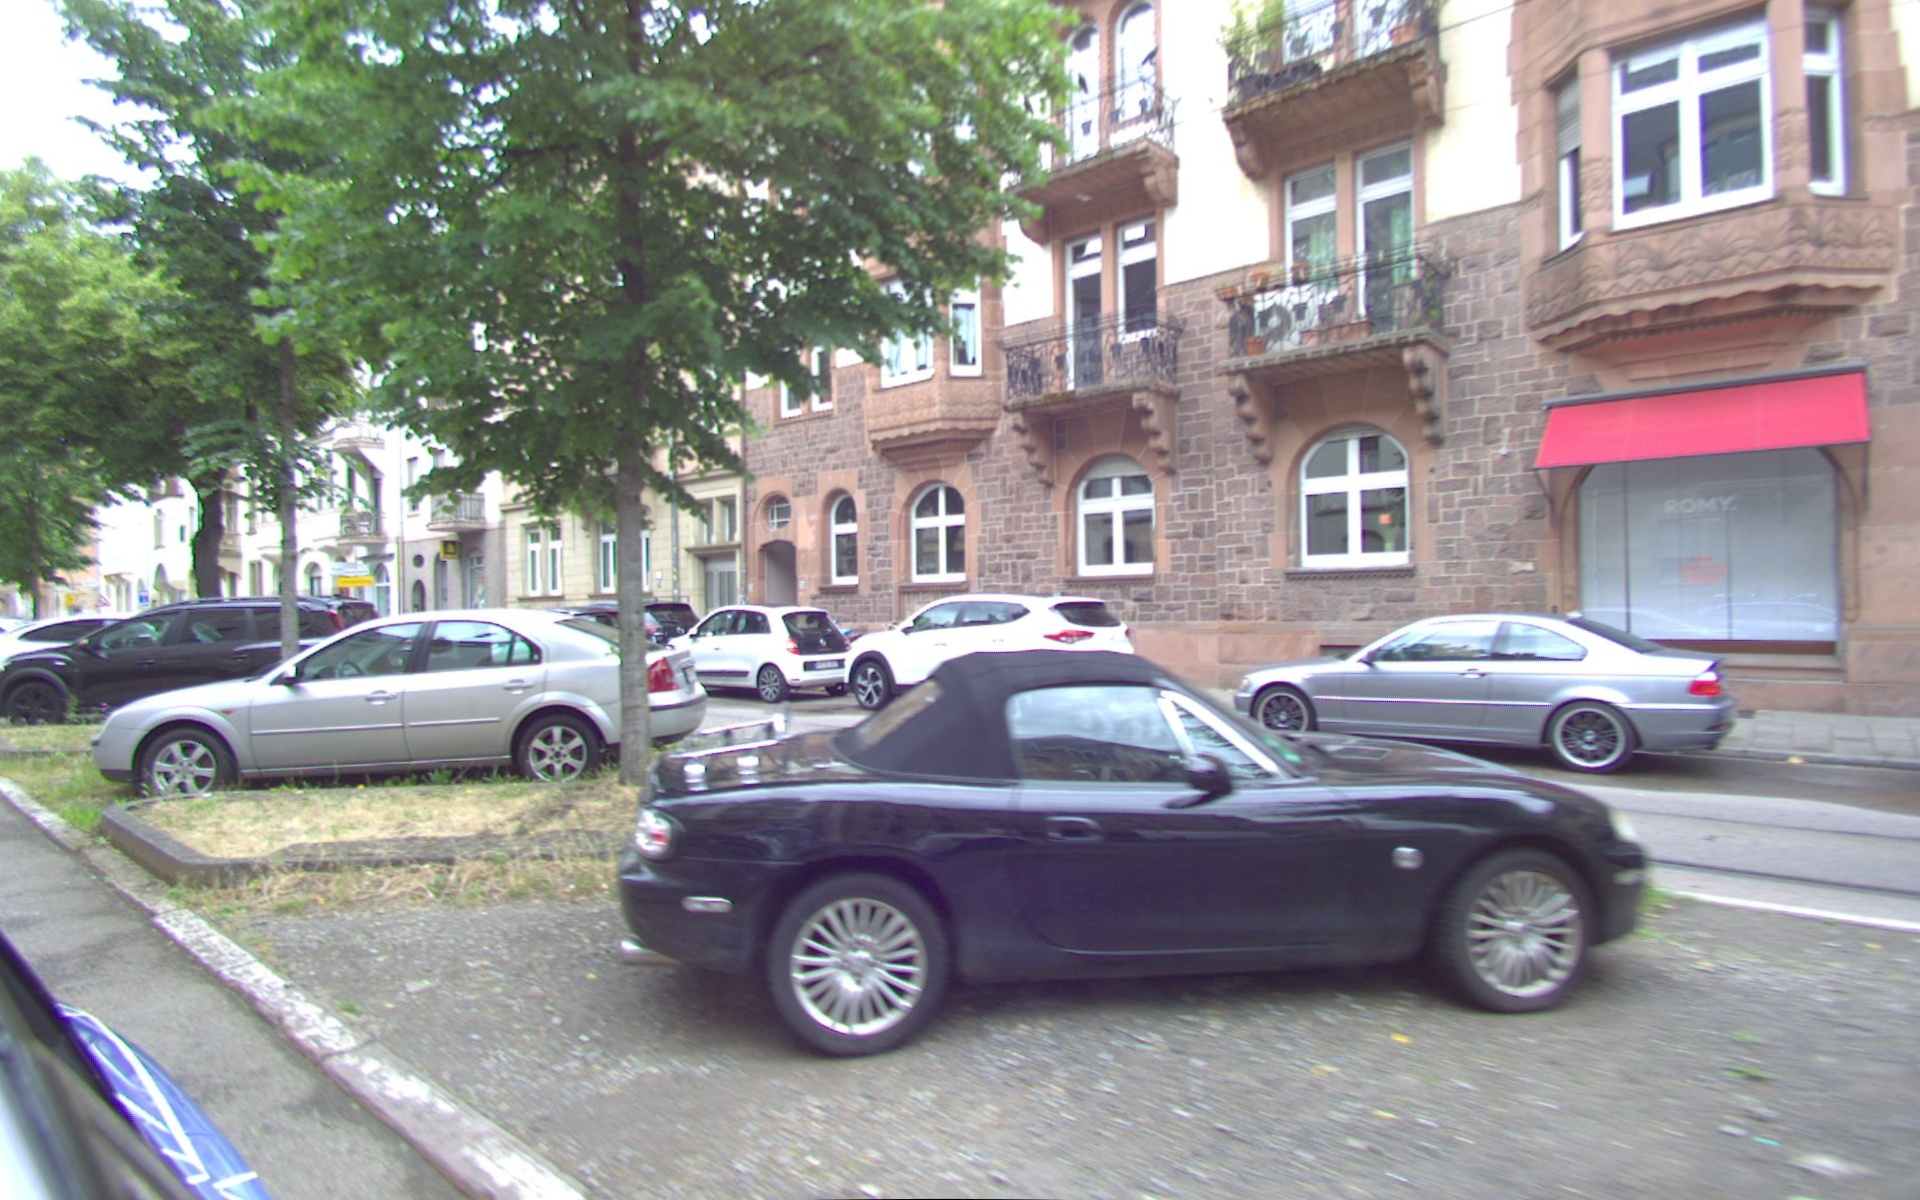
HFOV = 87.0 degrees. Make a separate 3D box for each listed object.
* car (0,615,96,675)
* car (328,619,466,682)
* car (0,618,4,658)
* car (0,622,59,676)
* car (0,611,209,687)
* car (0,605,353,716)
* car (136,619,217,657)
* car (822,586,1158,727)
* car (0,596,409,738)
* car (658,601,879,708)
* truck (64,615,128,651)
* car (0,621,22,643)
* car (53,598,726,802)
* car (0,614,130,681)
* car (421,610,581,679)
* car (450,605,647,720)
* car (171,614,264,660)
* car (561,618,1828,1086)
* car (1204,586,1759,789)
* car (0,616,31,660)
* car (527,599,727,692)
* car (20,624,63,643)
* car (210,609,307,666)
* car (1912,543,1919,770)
[{"bbox_3d":[-25.675,1.203,26.822,3.940,1.496,1.778,-1,0,-4],"label":"car"},{"bbox_3d":[-15.125,1.281,27.088,4.384,1.501,1.786,-1,0,40],"label":"car"},{"bbox_3d":[-38.895,1.581,38.257,3.755,1.538,1.677,-3,1,-4],"label":"car"},{"bbox_3d":[-31.076,1.530,31.606,4.140,1.621,1.728,0,0,-8],"label":"car"},{"bbox_3d":[-17.651,0.957,20.053,4.066,1.322,1.866,-2,0,-6],"label":"car"},{"bbox_3d":[-12.102,0.857,15.414,4.472,1.501,2.038,-1,0,-5],"label":"car"},{"bbox_3d":[-34.041,1.647,43.955,4.189,1.534,1.833,-2,-1,38],"label":"car"},{"bbox_3d":[0.282,0.678,13.943,4.550,1.639,1.723,-1,0,40],"label":"car"},{"bbox_3d":[-9.904,0.813,13.183,4.463,1.645,1.767,-1,0,-5],"label":"car"},{"bbox_3d":[-3.245,0.828,16.819,3.719,1.571,1.645,-1,0,40],"label":"car"},{"bbox_3d":[-47.574,1.798,55.674,6.065,1.870,2.121,-2,0,45],"label":"truck"},{"bbox_3d":[-75.510,2.507,79.650,4.508,1.617,1.774,-1,0,39],"label":"car"},{"bbox_3d":[-4.407,0.733,8.480,4.595,1.378,1.760,-1,0,-6],"label":"car"},{"bbox_3d":[-23.406,1.164,24.796,4.497,1.504,1.865,-1,0,-3],"label":"car"},{"bbox_3d":[-10.791,0.979,23.678,4.227,1.449,1.786,-1,0,40],"label":"car"},{"bbox_3d":[-6.228,0.865,15.233,2.890,1.526,1.588,-1,0,40],"label":"car"},{"bbox_3d":[-29.159,1.423,39.679,4.488,1.672,1.833,-2,-1,38],"label":"car"},{"bbox_3d":[0.732,0.732,3.884,3.902,1.211,1.670,-1,0,-6],"label":"car"},{"bbox_3d":[4.877,0.692,9.892,4.550,1.553,1.723,-1,0,40],"label":"car"},{"bbox_3d":[-35.943,1.387,36.422,3.374,1.538,1.693,0,0,-7],"label":"car"},{"bbox_3d":[-6.659,0.826,19.993,4.317,1.641,1.751,-1,0,40],"label":"car"},{"bbox_3d":[-61.535,2.263,67.775,3.376,1.185,1.619,-1,0,39],"label":"car"},{"bbox_3d":[-25.160,1.317,36.229,4.429,1.885,1.831,-2,-1,41],"label":"car"},{"bbox_3d":[9.191,0.431,5.934,5.113,1.795,1.795,-1,0,40],"label":"car"}]
